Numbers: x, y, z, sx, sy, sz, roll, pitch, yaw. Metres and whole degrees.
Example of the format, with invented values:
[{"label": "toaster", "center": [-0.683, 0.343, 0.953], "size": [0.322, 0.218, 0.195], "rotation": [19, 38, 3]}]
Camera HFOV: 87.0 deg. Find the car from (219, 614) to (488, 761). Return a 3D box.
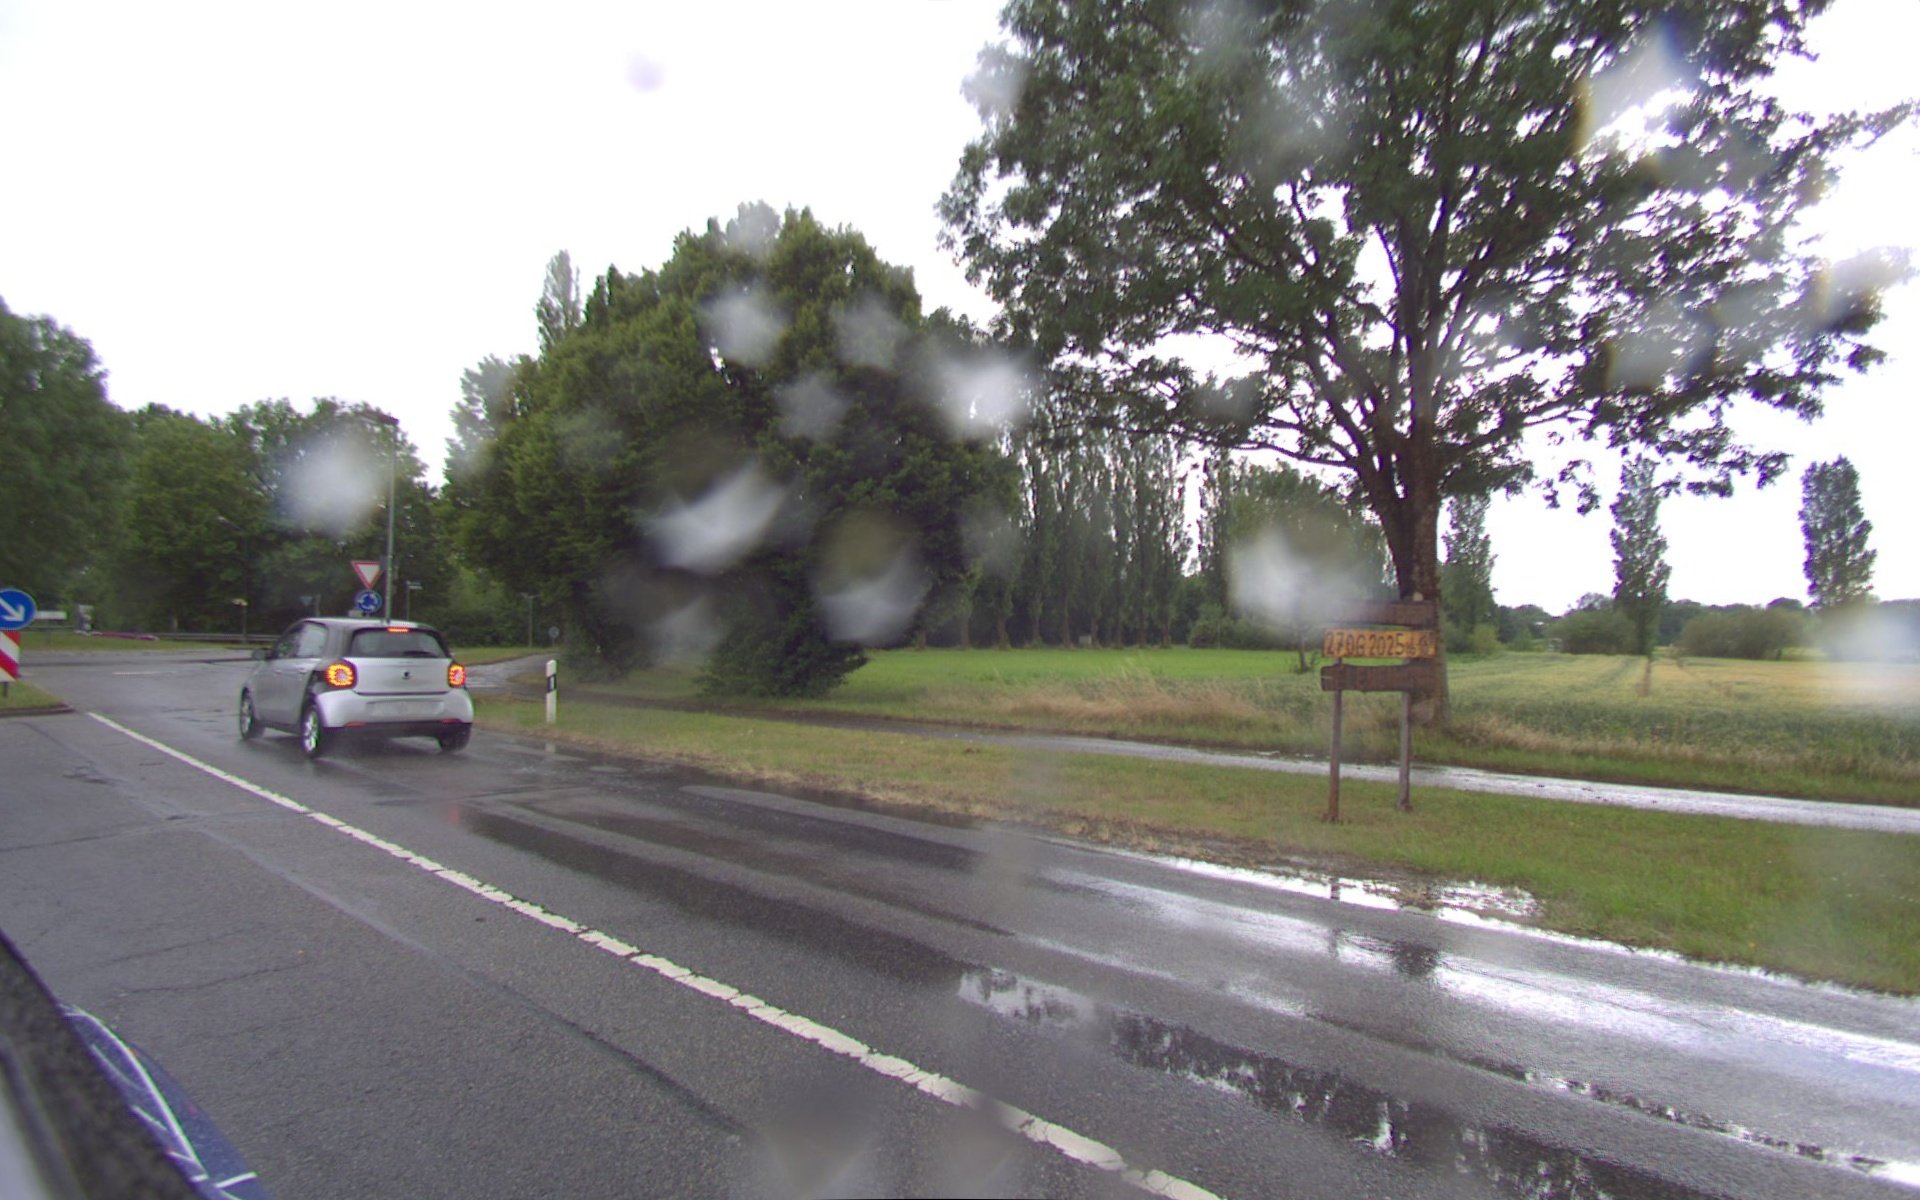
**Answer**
[{"label": "car", "center": [-7.414, 0.978, 12.248], "size": [3.732, 1.510, 1.658], "rotation": [-1, -4, 41]}]
